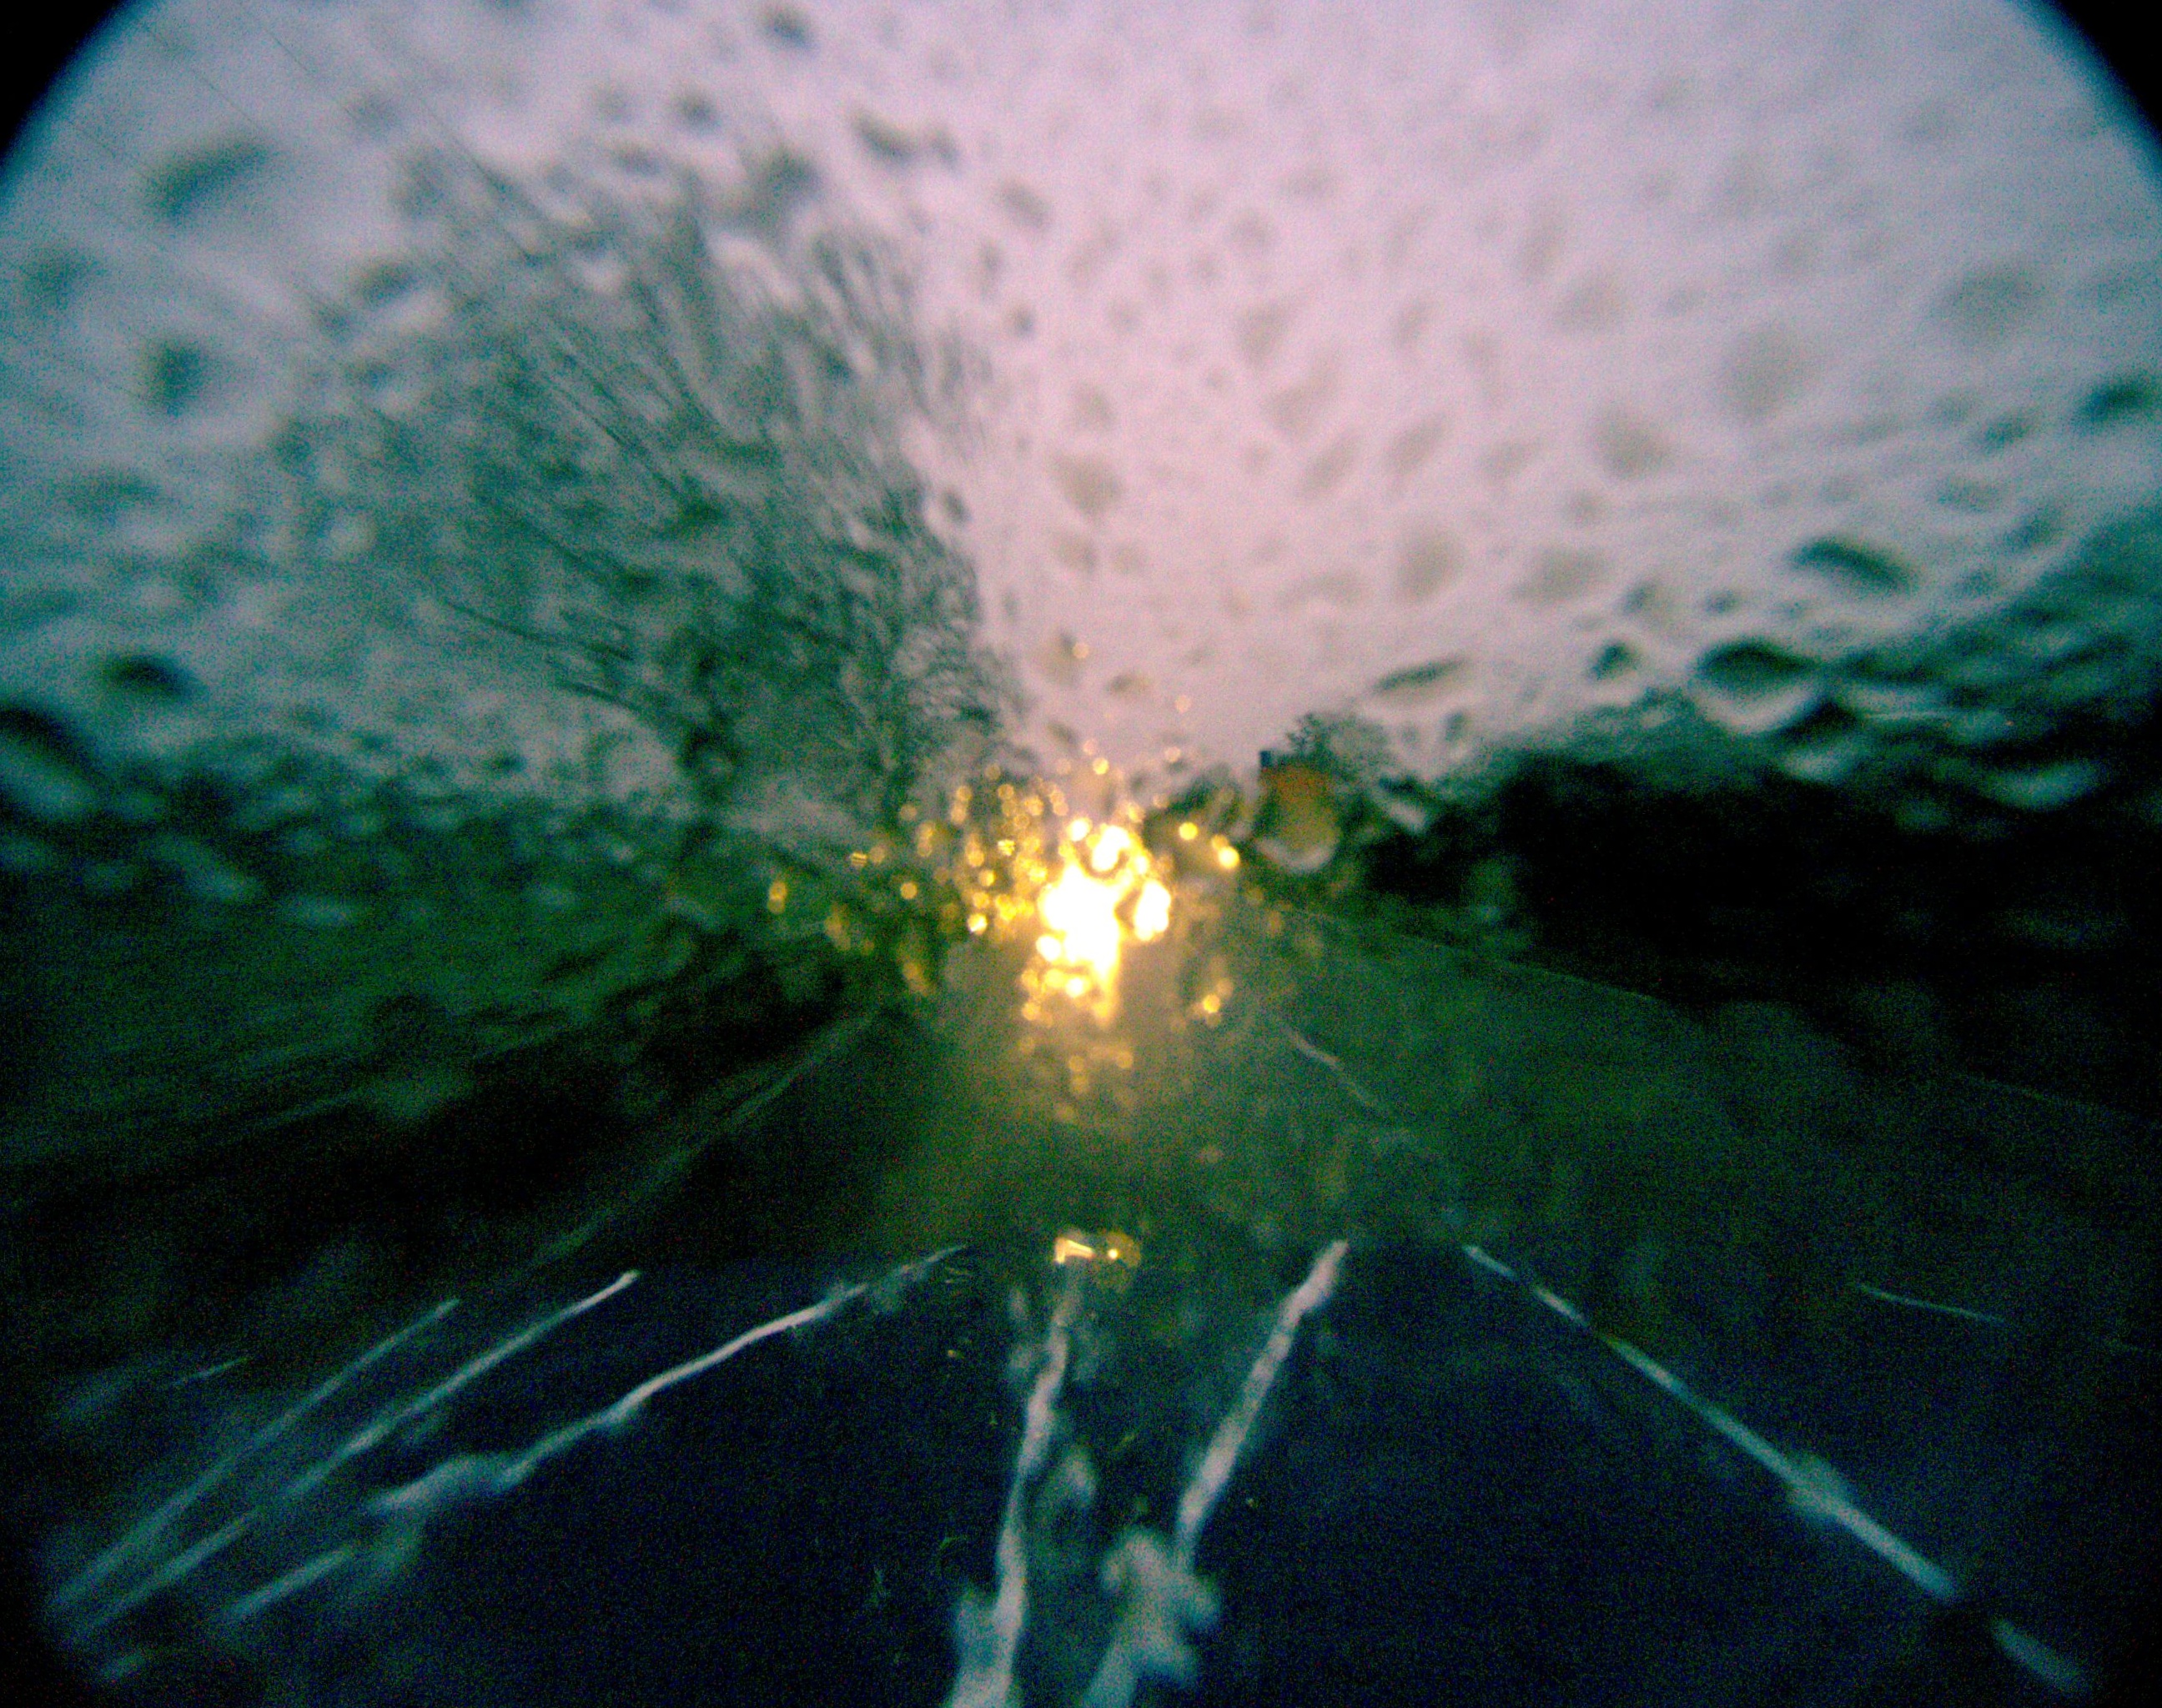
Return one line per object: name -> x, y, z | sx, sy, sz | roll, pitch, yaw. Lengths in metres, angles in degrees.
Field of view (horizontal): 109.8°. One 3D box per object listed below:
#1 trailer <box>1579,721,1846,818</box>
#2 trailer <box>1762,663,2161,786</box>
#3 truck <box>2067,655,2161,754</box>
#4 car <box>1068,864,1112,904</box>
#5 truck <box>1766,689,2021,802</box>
trailer -> 26.358, -3.313, 32.895 | 2.442, 2.874, 11.086 | -1, 0, 1
trailer -> 30.757, -4.171, 27.255 | 2.515, 2.410, 11.503 | 0, 0, 1
truck -> 30.644, -4.194, 20.643 | 2.536, 2.421, 4.000 | 0, 0, 1
car -> 0.486, 1.407, 36.974 | 1.910, 1.653, 4.000 | -2, 1, 3
truck -> 26.250, -3.352, 24.978 | 2.456, 2.870, 5.584 | -1, 0, 1
